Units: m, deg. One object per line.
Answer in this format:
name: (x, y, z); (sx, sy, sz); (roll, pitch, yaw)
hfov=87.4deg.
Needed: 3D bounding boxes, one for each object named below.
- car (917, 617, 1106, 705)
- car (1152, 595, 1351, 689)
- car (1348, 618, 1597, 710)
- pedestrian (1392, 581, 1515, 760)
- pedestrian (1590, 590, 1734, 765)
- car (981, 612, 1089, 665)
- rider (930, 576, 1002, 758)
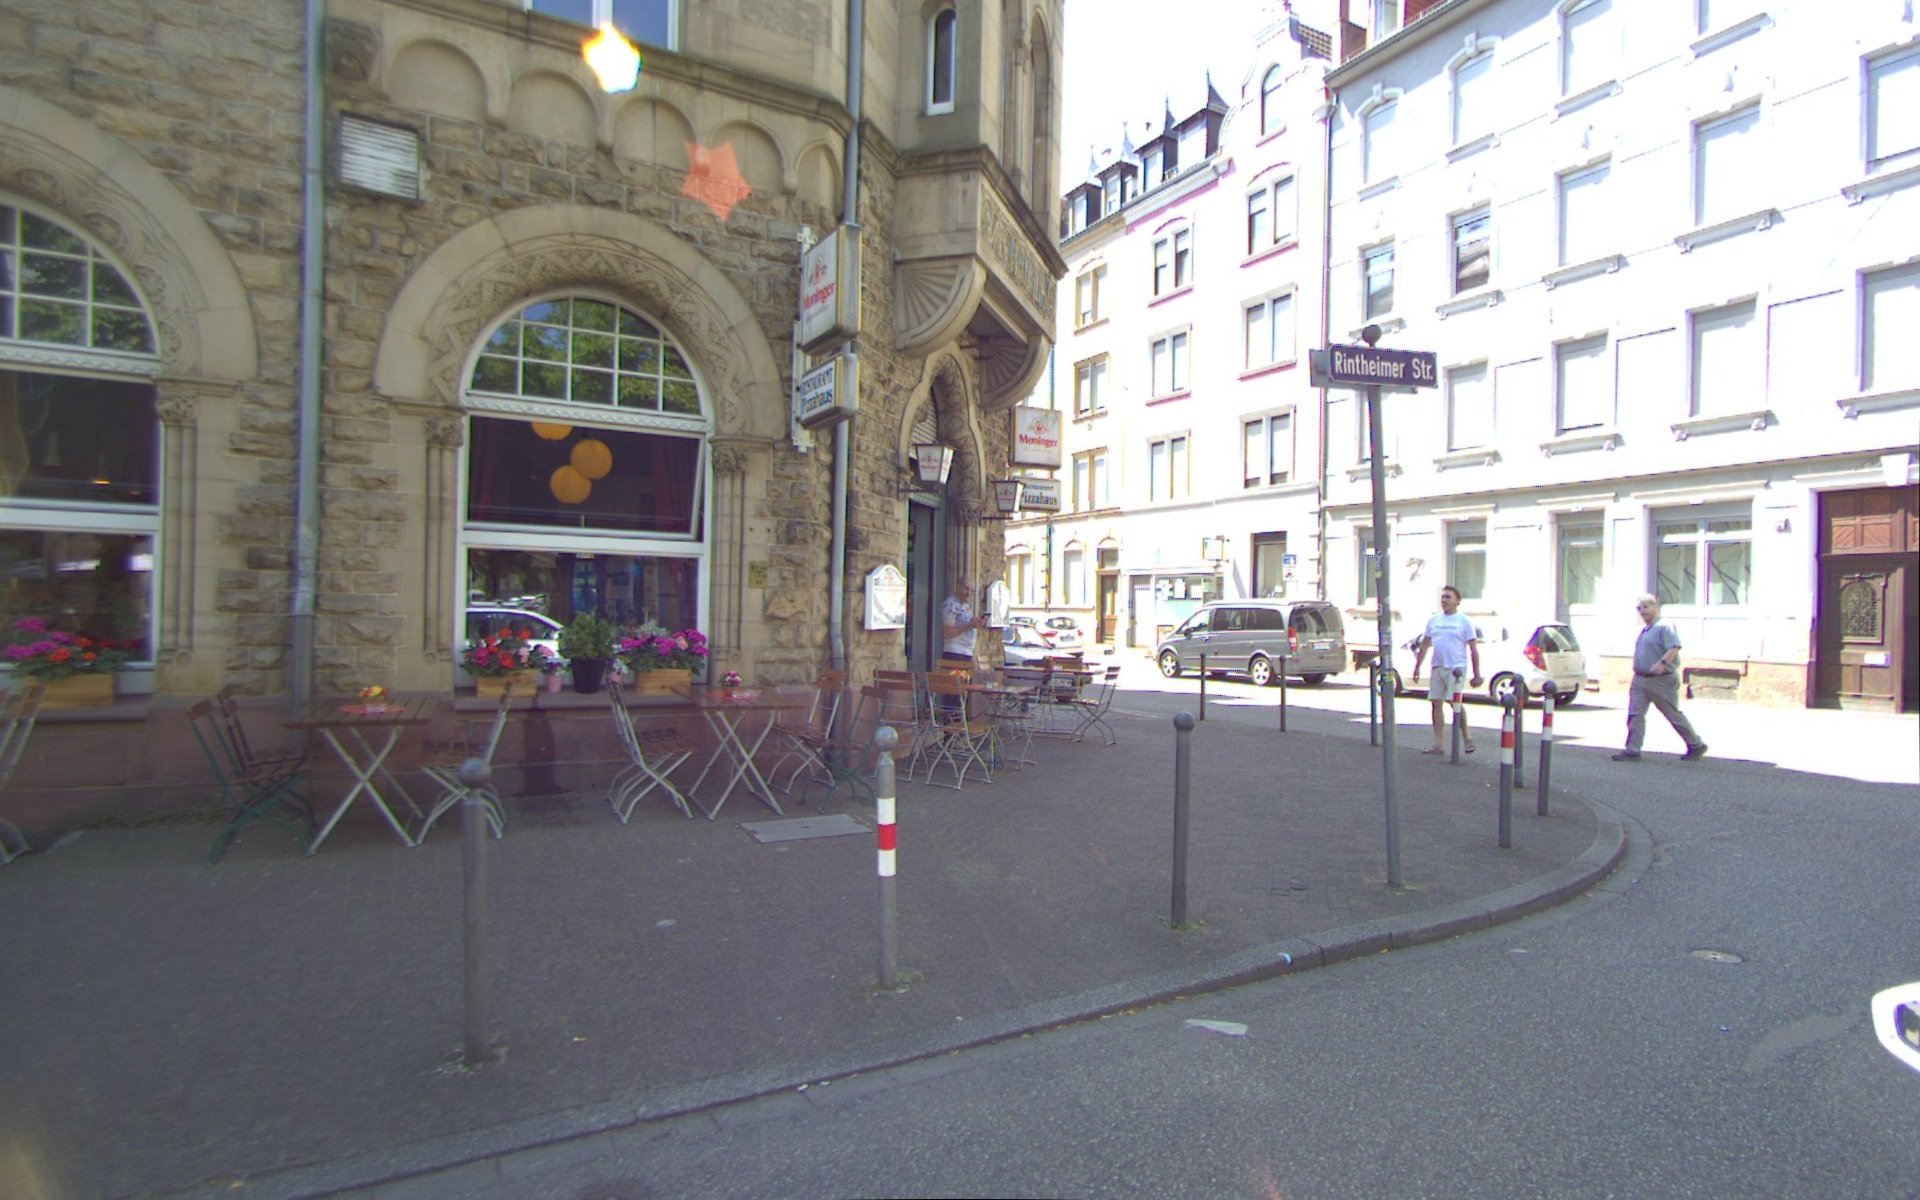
car: (0.837, 1.089, 18.658); (1.702, 1.444, 3.816); (3, -3, -29)
car: (6.879, 0.941, 24.246); (1.854, 2.024, 4.686); (0, -1, -29)
car: (9.770, 1.150, 19.462); (1.785, 1.582, 4.029); (1, -2, -29)
pedestrian: (5.523, 0.772, 11.282); (0.919, 1.914, 0.851); (1, -1, -11)
pedestrian: (7.728, 0.832, 11.096); (0.943, 1.838, 0.902); (1, -1, -10)
car: (2.378, 1.218, 32.721); (1.701, 1.603, 3.816); (0, -1, -30)
rider: (0.068, 0.639, 9.881); (0.530, 1.719, 0.642); (0, -1, 16)
